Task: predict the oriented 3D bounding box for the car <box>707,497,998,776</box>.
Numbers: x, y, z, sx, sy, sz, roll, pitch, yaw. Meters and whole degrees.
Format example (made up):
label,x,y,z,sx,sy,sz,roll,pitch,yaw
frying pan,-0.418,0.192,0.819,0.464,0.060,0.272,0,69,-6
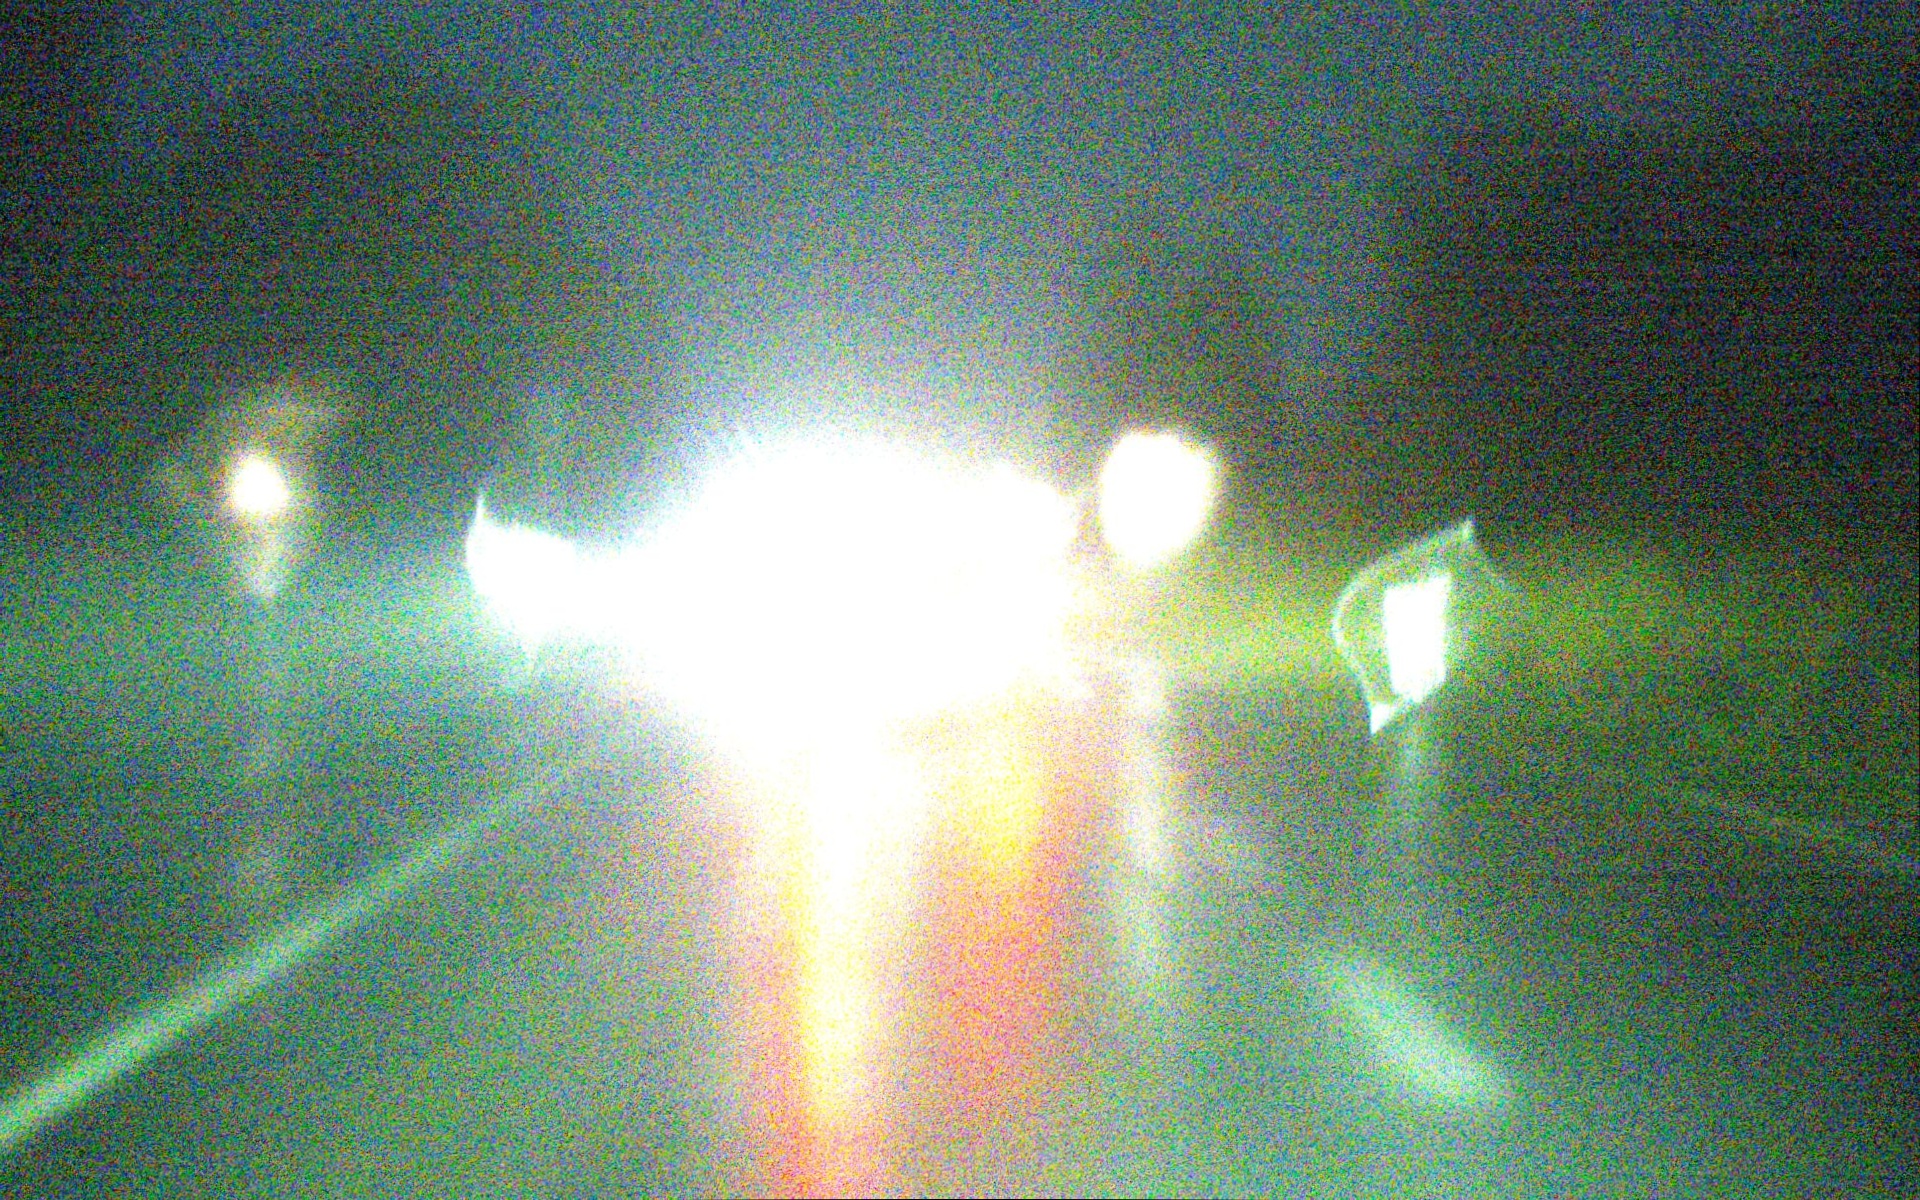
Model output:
label,x,y,z,sx,sy,sz,roll,pitch,yaw
car,-0.867,0.233,27.170,2.093,2.007,4.001,1,1,-2
